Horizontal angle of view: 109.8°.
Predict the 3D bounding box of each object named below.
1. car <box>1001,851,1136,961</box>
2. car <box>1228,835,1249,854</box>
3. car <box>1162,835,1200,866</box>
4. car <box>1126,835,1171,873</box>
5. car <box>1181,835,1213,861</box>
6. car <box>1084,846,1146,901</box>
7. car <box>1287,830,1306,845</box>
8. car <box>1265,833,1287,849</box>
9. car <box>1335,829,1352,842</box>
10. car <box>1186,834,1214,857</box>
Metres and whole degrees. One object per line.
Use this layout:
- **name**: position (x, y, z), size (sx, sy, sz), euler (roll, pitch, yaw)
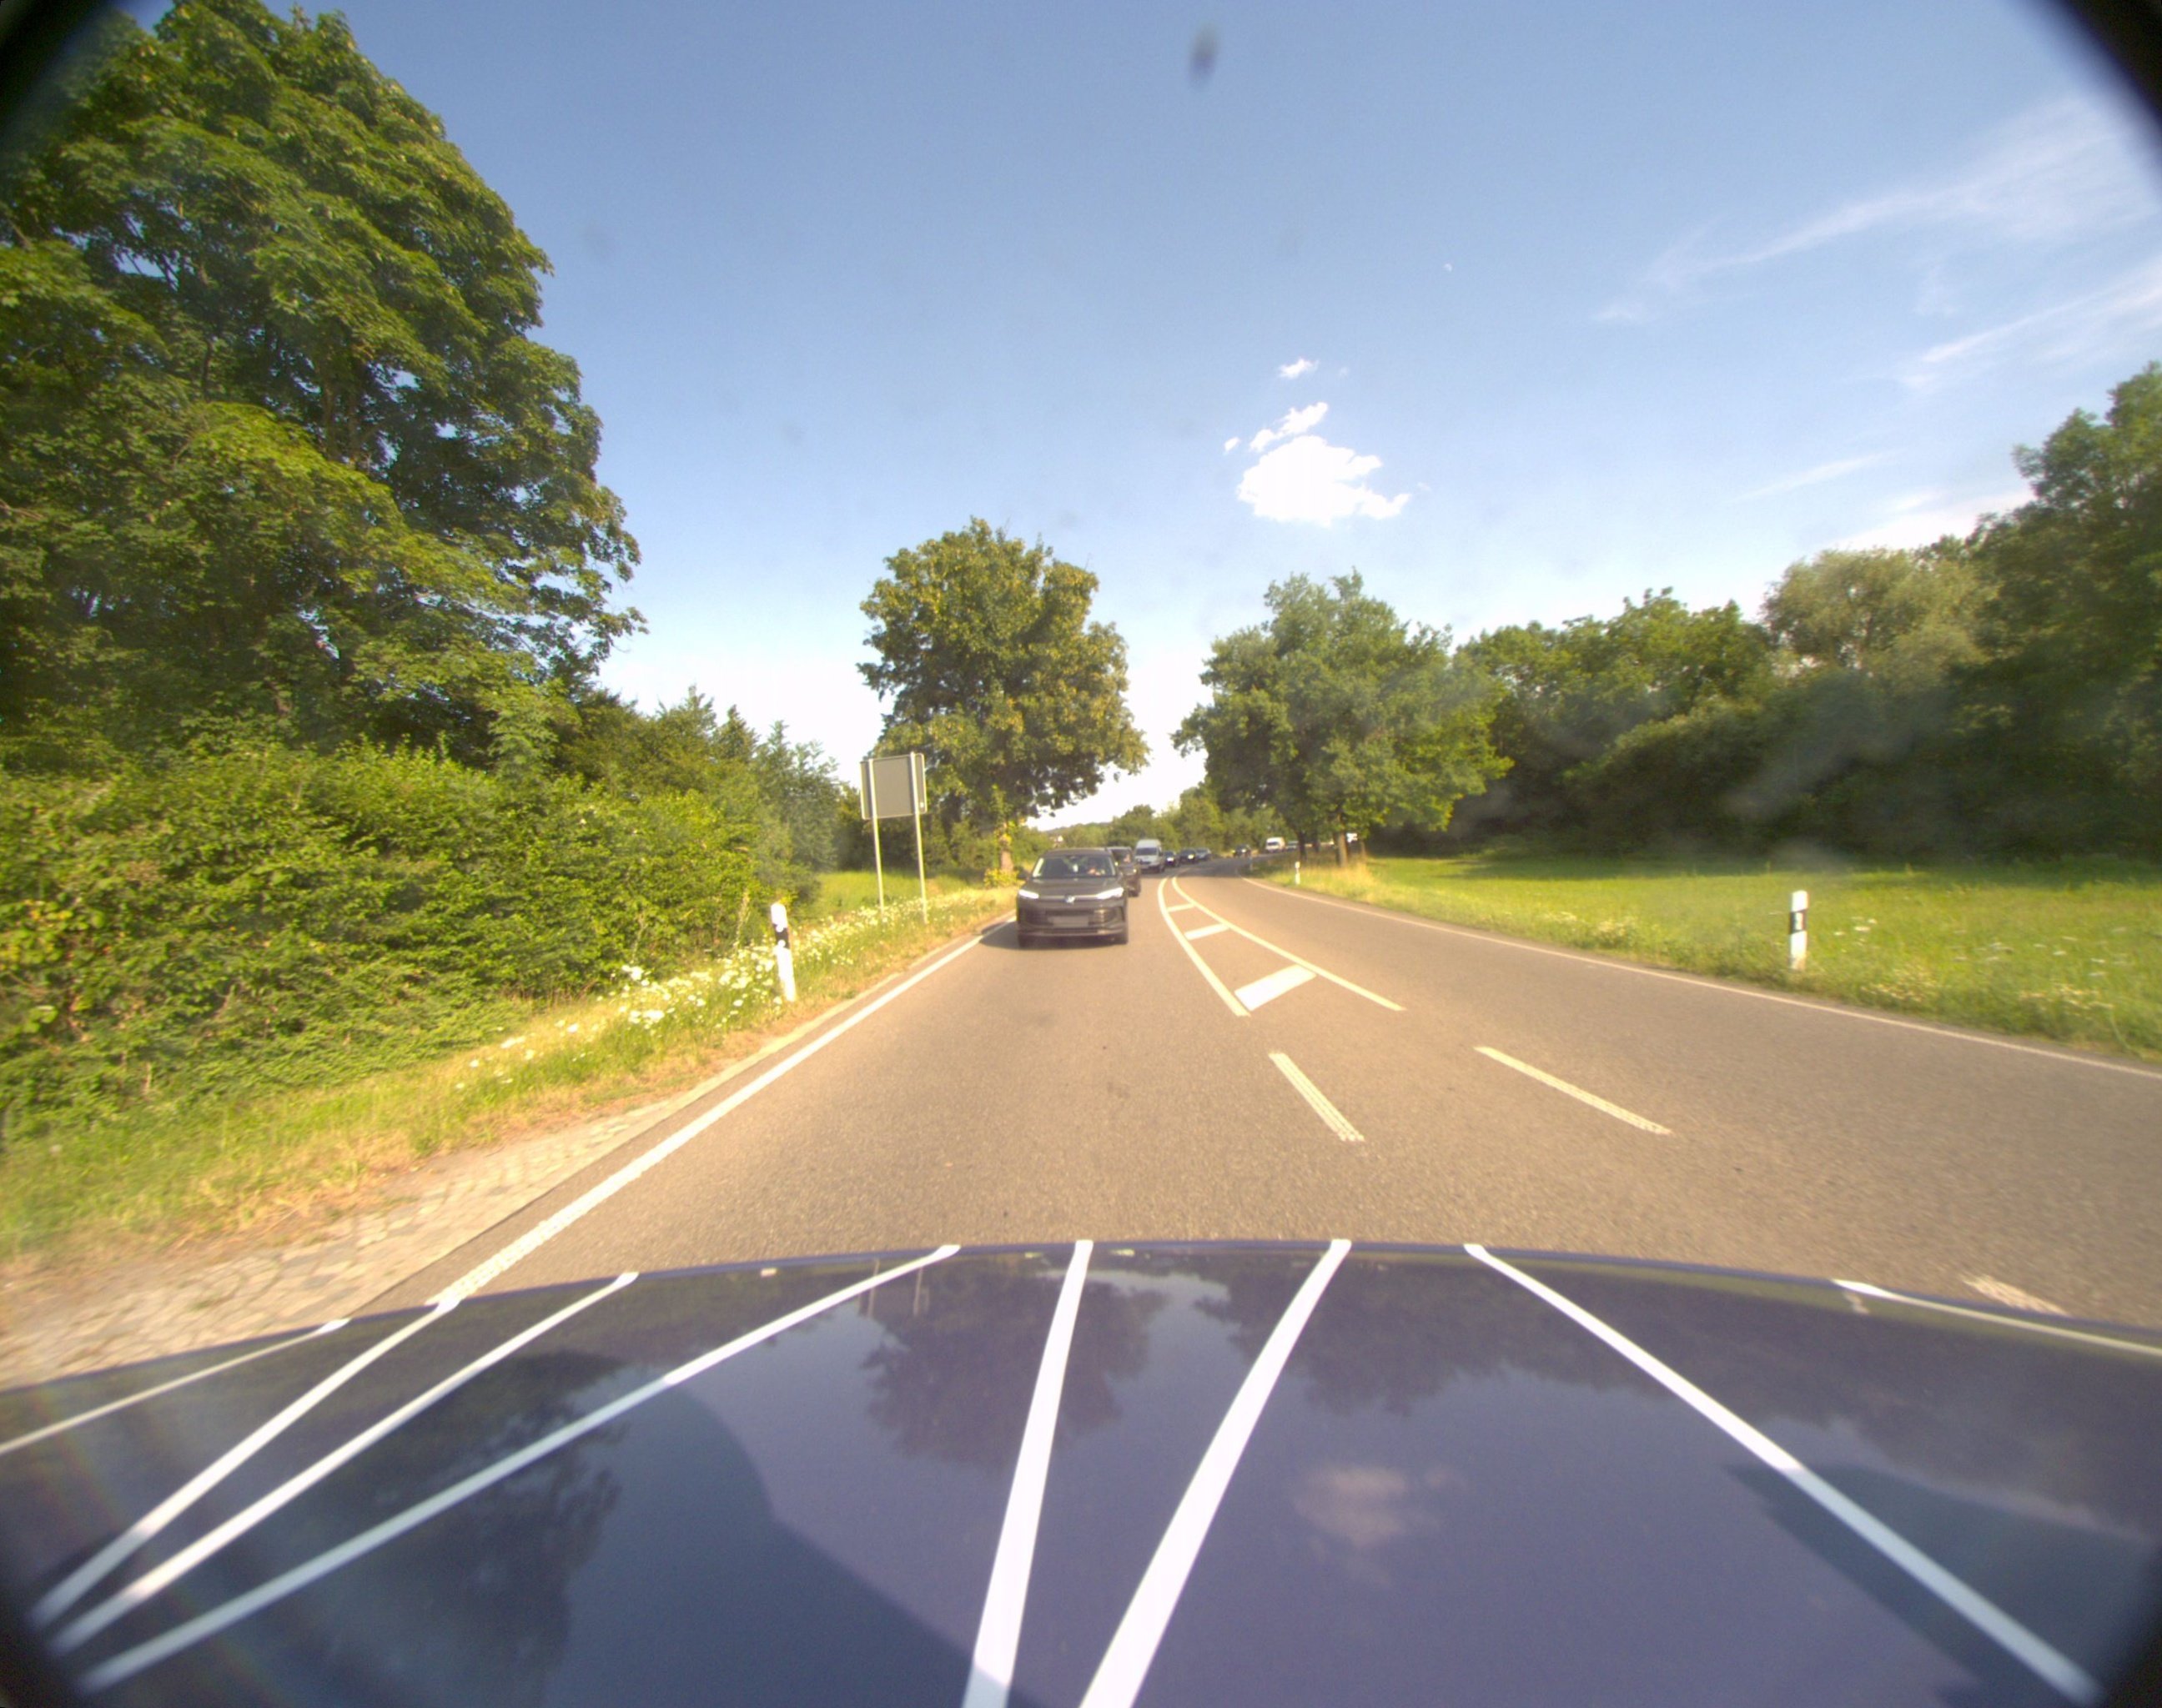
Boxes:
- **car**: position (-0.027, 0.797, 14.013), size (1.921, 1.612, 4.703), euler (-2, 0, 6)
- **car**: position (21.364, -1.366, 102.692), size (2.085, 2.403, 5.148), euler (-2, 1, 19)
- **car**: position (8.507, -0.323, 64.203), size (2.085, 2.403, 5.148), euler (-2, 1, 19)
- **car**: position (4.747, -0.037, 52.440), size (2.086, 2.403, 5.147), euler (-2, 1, 16)
- **car**: position (11.410, -0.611, 74.218), size (2.085, 2.403, 5.148), euler (-2, 1, 19)
- **car**: position (1.310, 0.631, 27.136), size (1.921, 1.719, 4.703), euler (-2, 0, 6)
- **car**: position (38.932, -2.978, 137.103), size (2.084, 2.403, 5.151), euler (-2, 1, 31)
- **car**: position (32.212, -2.127, 125.413), size (2.084, 2.403, 5.151), euler (-2, 1, 31)
- **car**: position (50.663, -3.645, 146.661), size (2.084, 2.403, 5.151), euler (-2, 1, 31)
- **car**: position (13.307, -0.967, 84.439), size (2.085, 2.403, 5.148), euler (-2, 1, 19)
